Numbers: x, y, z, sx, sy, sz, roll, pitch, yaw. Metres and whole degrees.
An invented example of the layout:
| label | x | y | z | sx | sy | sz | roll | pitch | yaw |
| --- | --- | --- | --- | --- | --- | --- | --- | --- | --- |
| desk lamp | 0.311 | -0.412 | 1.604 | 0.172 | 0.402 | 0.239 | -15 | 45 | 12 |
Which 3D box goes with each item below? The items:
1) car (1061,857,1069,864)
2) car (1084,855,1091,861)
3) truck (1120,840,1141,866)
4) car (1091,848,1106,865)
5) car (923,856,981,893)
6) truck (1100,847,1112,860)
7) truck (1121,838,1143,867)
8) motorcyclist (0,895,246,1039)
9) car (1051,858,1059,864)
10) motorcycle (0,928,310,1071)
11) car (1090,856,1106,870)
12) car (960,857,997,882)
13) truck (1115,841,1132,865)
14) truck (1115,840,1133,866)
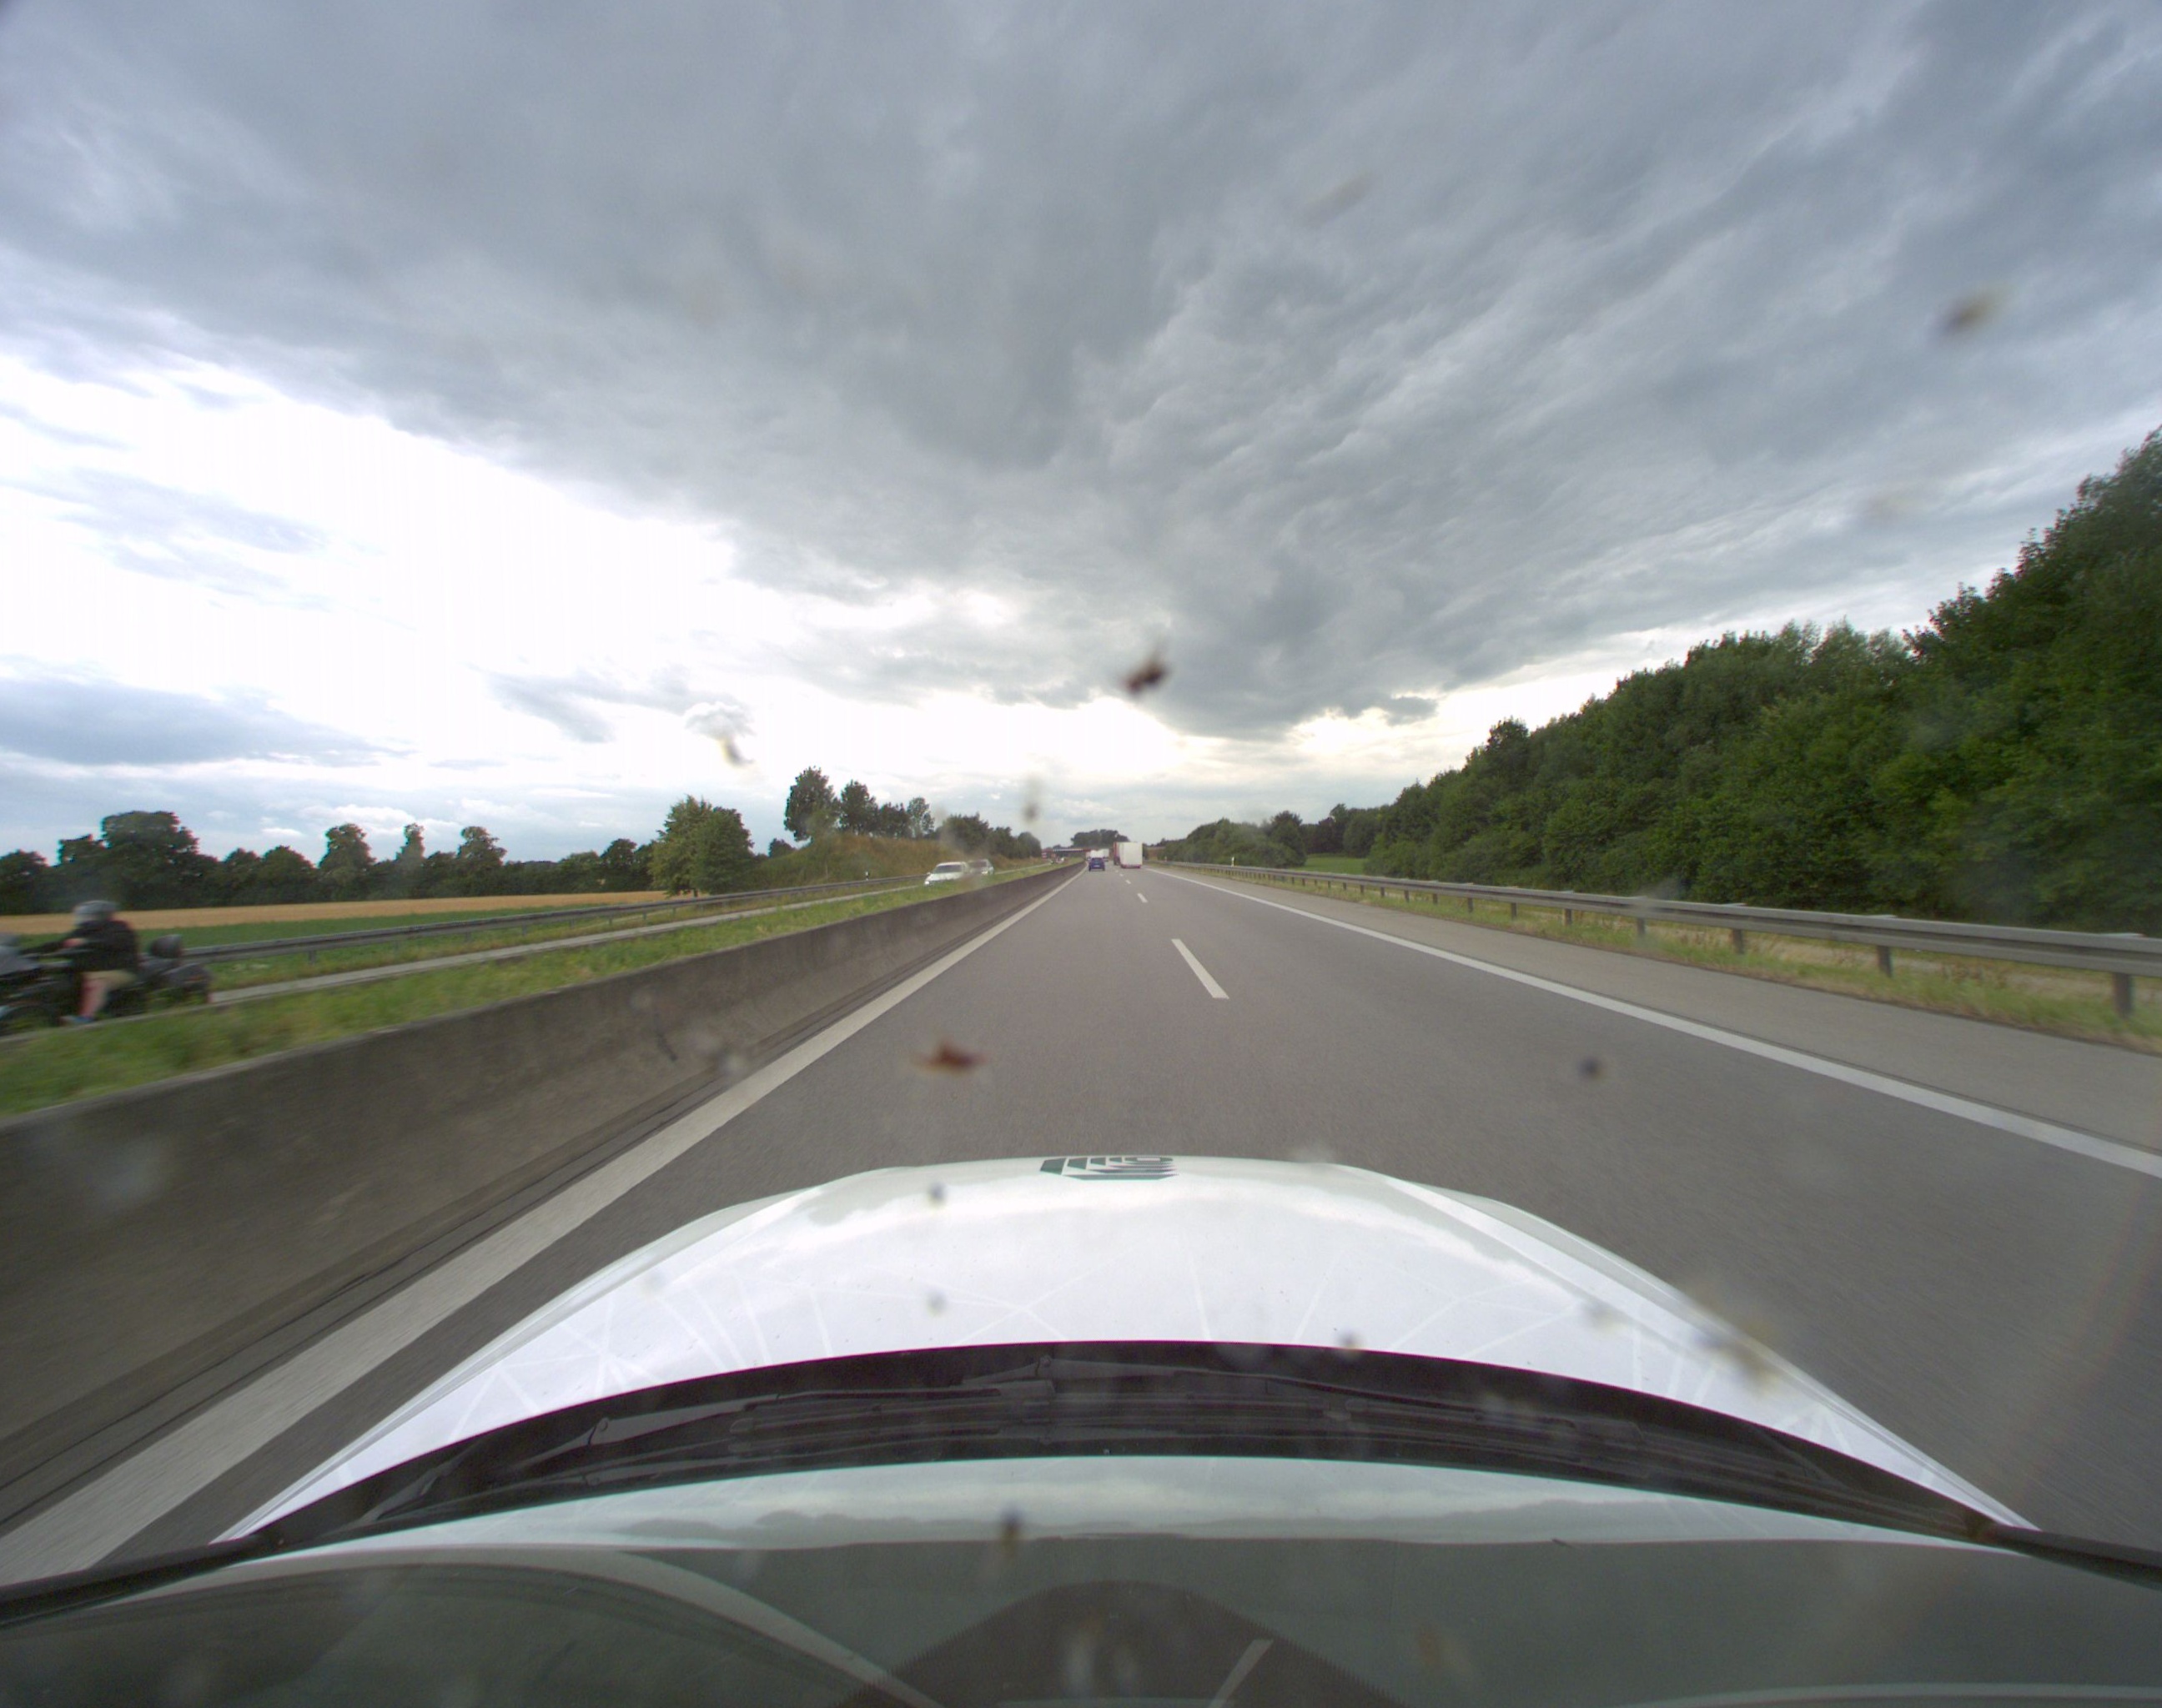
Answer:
| label | x | y | z | sx | sy | sz | roll | pitch | yaw |
| --- | --- | --- | --- | --- | --- | --- | --- | --- | --- |
| car | -4.127 | 1.735 | 211.420 | 1.839 | 1.571 | 4.361 | -3 | 0 | 1 |
| car | 1.951 | 1.282 | 241.715 | 1.988 | 1.684 | 3.997 | -1 | 0 | -2 |
| truck | 6.345 | -0.077 | 105.863 | 2.421 | 3.243 | 7.249 | -1 | -1 | 1 |
| car | 2.661 | 0.371 | 124.964 | 2.123 | 2.483 | 5.839 | -2 | -1 | 1 |
| car | -6.225 | 0.941 | 39.803 | 1.859 | 1.574 | 4.991 | -3 | 0 | 1 |
| truck | 7.679 | -0.128 | 247.972 | 3.101 | 3.689 | 9.320 | -4 | 0 | 0 |
| truck | 6.153 | -0.148 | 98.672 | 2.406 | 3.222 | 7.146 | -1 | -1 | 2 |
| motorcyclist | -10.797 | 1.218 | 9.107 | 1.561 | 1.371 | 1.253 | -3 | -1 | 1 |
| car | -7.201 | 2.046 | 227.127 | 1.839 | 1.497 | 4.580 | -4 | 0 | 1 |
| motorcycle | -10.784 | 1.524 | 9.016 | 1.560 | 1.078 | 2.983 | -3 | 0 | 2 |
| car | 1.767 | 0.955 | 86.408 | 1.658 | 1.407 | 3.649 | -1 | 0 | 1 |
| car | -7.098 | 1.057 | 56.922 | 1.859 | 1.574 | 4.694 | -3 | 0 | 1 |
| truck | 7.296 | -0.192 | 140.995 | 2.663 | 4.045 | 5.514 | -2 | 0 | 2 |
| truck | 7.133 | -0.177 | 135.624 | 2.663 | 4.045 | 11.112 | -2 | 0 | 2 |
